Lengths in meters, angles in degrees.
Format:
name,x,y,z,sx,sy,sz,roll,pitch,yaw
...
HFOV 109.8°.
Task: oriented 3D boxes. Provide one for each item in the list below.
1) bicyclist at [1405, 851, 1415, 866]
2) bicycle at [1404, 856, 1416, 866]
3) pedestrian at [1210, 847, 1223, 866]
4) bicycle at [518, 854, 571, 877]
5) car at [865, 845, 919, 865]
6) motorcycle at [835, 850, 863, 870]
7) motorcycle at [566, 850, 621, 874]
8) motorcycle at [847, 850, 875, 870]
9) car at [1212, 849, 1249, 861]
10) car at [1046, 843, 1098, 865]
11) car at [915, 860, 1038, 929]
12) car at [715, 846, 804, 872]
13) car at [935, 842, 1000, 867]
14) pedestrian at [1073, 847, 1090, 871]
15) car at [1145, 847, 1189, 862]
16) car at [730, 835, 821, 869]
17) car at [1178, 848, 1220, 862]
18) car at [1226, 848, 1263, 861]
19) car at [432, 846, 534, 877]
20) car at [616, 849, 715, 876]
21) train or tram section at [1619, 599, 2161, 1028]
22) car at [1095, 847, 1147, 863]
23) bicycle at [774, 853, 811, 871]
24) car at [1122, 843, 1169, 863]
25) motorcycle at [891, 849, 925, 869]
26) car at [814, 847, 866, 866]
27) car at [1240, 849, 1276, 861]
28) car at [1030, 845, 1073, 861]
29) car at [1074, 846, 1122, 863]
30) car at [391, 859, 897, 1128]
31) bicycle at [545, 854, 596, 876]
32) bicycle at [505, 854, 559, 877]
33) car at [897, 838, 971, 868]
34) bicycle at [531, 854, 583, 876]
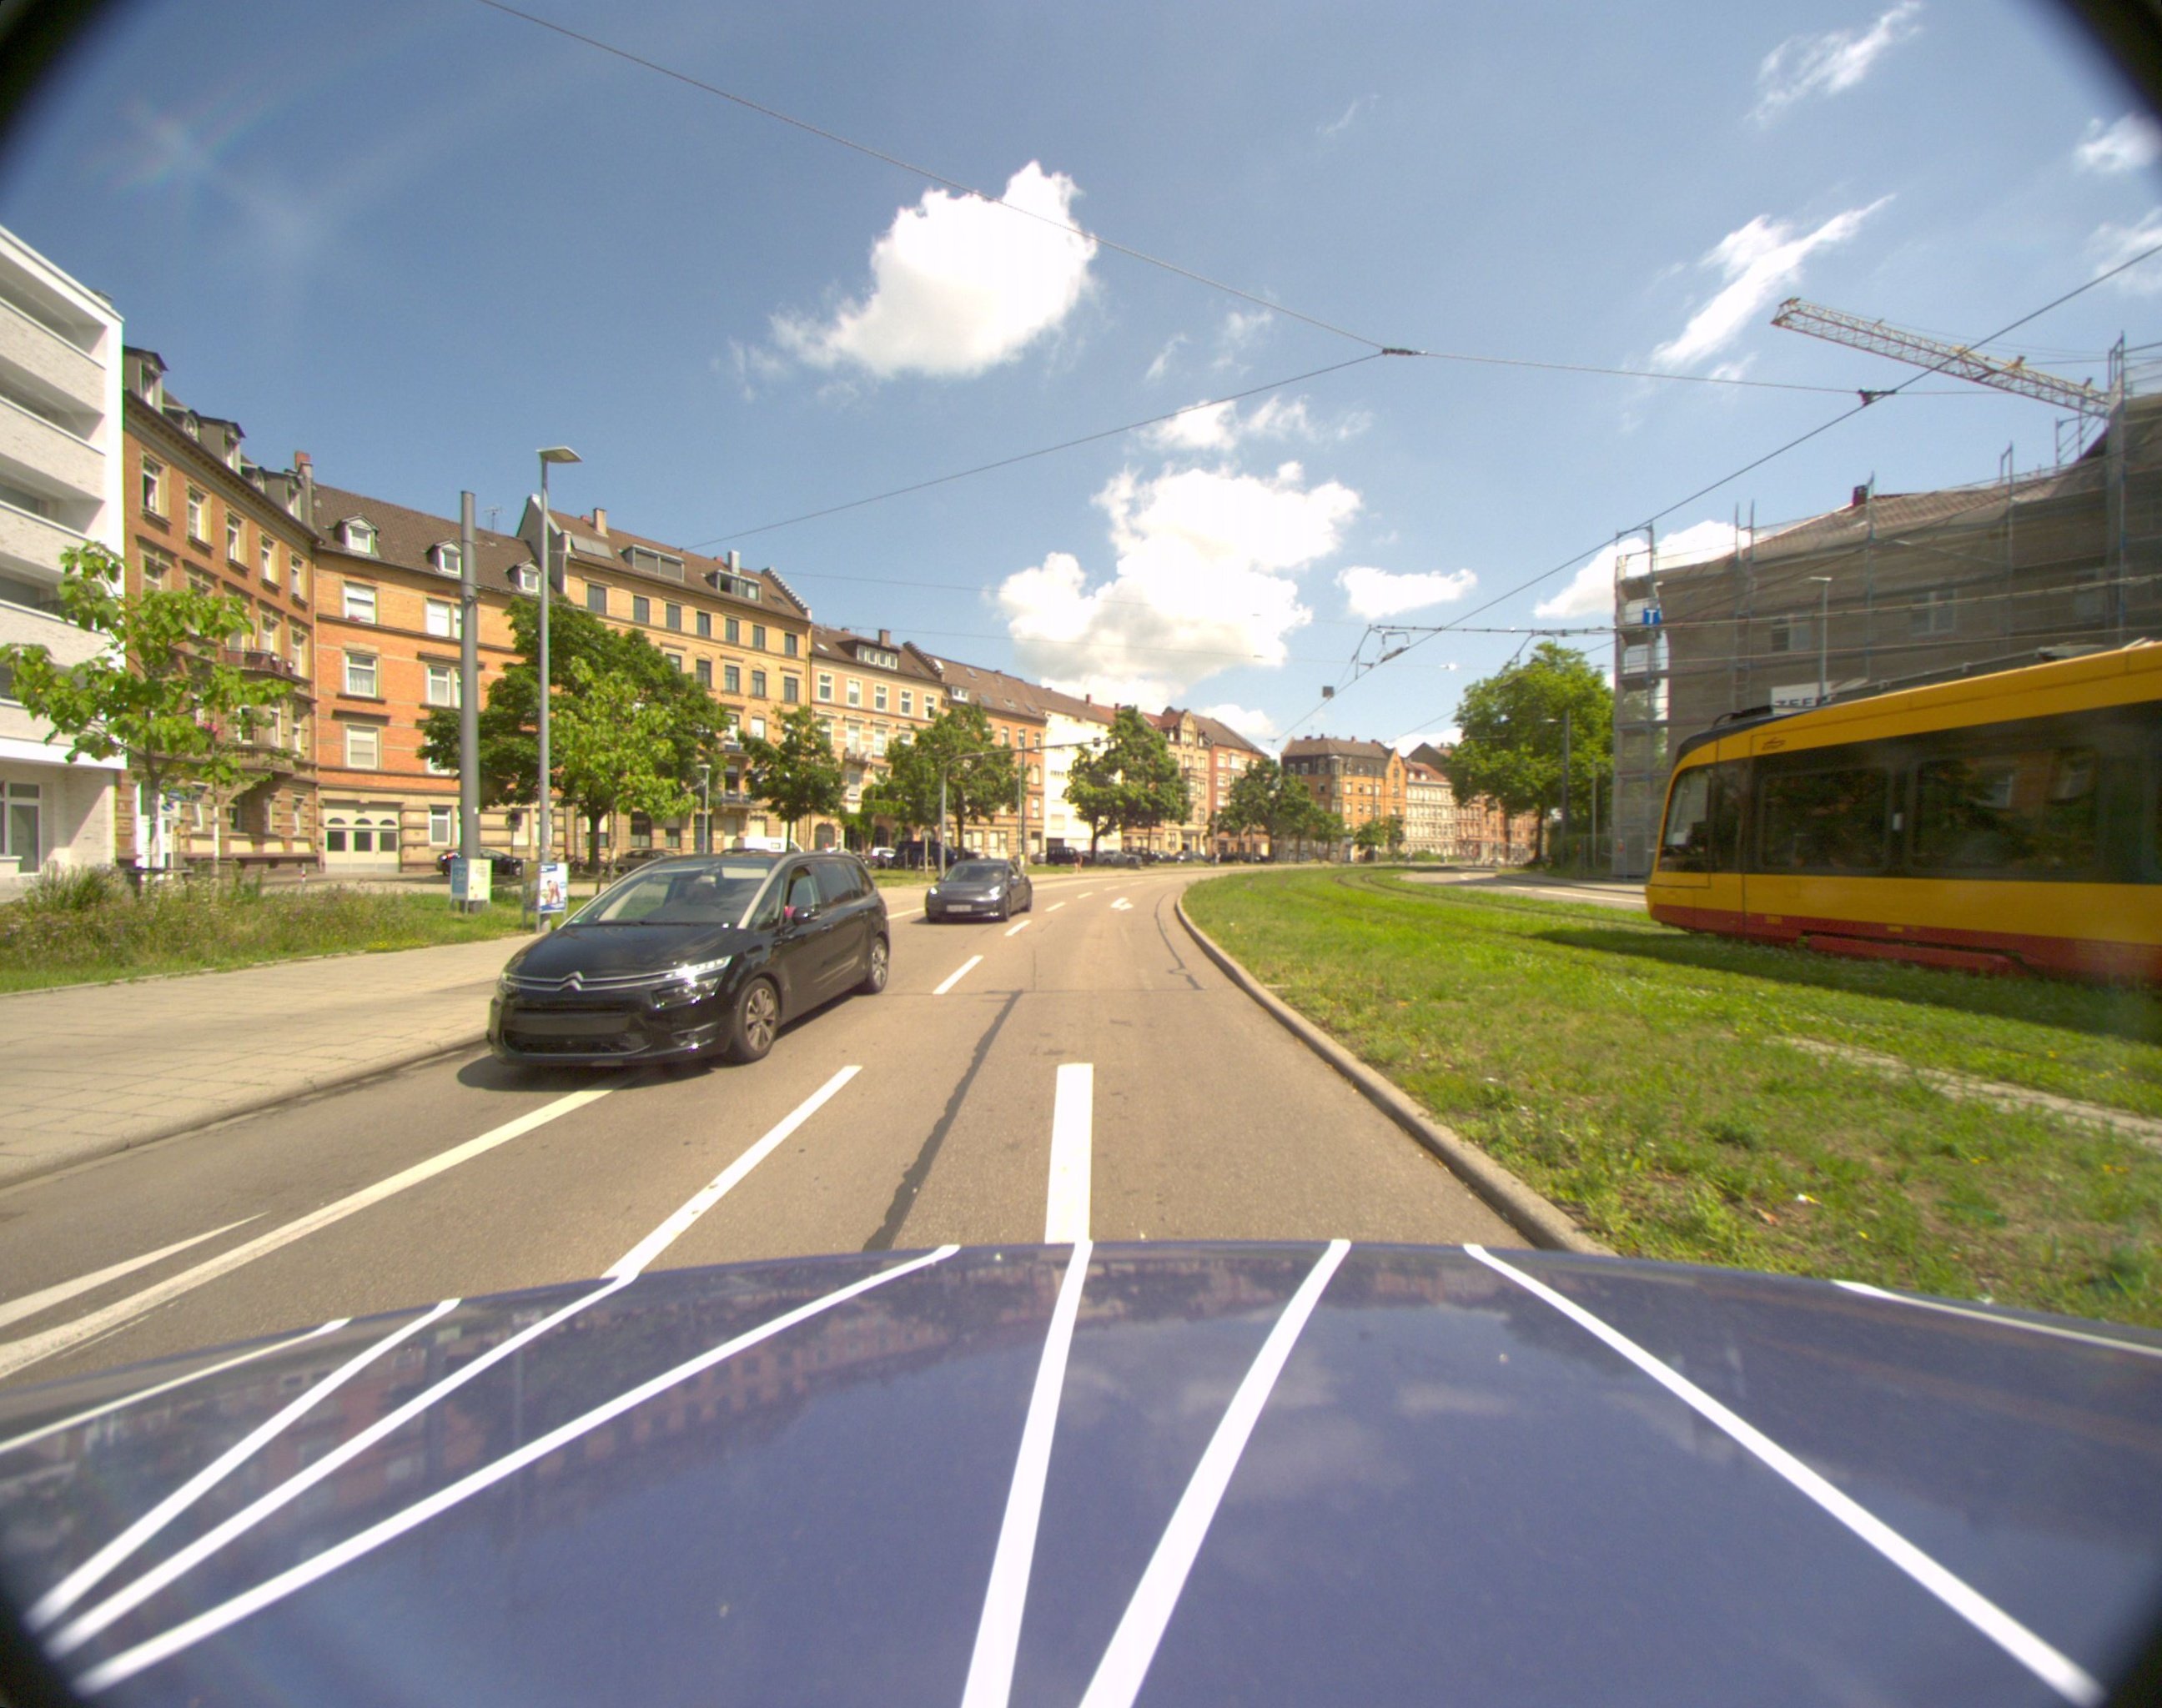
name,x,y,z,sx,sy,sz,roll,pitch,yaw
bicyclist,41.718,0.594,96.295,0.694,1.815,0.958,8,5,43
bicycle,41.700,0.858,96.311,0.693,1.236,1.843,8,5,43
pedestrian,12.518,0.230,70.311,0.700,1.695,1.046,0,4,38
bicycle,-24.219,0.513,34.275,2.387,0.963,0.544,-1,0,16
car,-14.832,0.062,59.883,1.659,1.483,3.861,-1,0,40
motorcycle,-13.410,0.339,43.835,1.783,1.160,0.641,0,1,38
motorcycle,-23.341,0.397,36.398,2.387,1.119,0.813,-1,0,16
motorcycle,-12.900,0.330,44.470,1.783,1.160,0.641,0,1,38
car,16.927,0.114,85.981,3.993,1.372,1.963,-1,0,12
car,-0.727,-0.006,64.799,4.144,1.731,1.853,-1,0,9
car,-2.378,0.899,18.507,1.913,1.386,4.315,-1,0,7
car,-17.955,0.282,42.462,4.252,1.419,1.807,0,1,10
car,-8.164,0.050,54.607,4.167,1.646,1.918,-1,0,13
pedestrian,0.025,0.324,51.972,0.700,1.583,0.907,1,1,39
car,8.493,0.073,75.446,4.265,1.372,1.853,-1,0,3
car,-20.852,-0.140,52.028,2.111,2.166,5.405,-1,0,40
car,12.487,0.101,80.452,4.265,1.372,1.853,-1,0,3
car,19.031,0.080,88.403,3.995,1.372,1.962,-1,0,7
car,-30.909,0.358,39.360,1.659,1.483,3.861,-1,0,40
car,-20.720,0.411,37.916,4.156,1.237,1.865,-1,0,15
train or tram section,10.675,-0.311,5.643,3.225,3.578,13.495,1,0,-3
car,3.686,0.116,69.421,4.688,1.372,1.853,-1,0,5
bicycle,-15.305,0.422,40.367,0.542,0.896,1.825,-1,0,36
car,6.136,-0.088,72.333,4.361,1.731,1.853,-1,0,3
motorcycle,-10.486,0.305,45.962,1.910,1.160,0.638,-1,1,-38
car,-17.768,0.154,56.137,1.564,1.395,3.357,1,1,42
car,21.236,0.073,91.055,3.992,1.346,1.964,-1,0,17
car,-2.912,-0.150,74.604,1.833,1.483,4.235,-1,0,40
car,1.533,0.060,66.985,4.081,1.397,1.853,-1,0,4
car,-3.285,0.896,6.883,1.875,1.610,4.190,-1,0,5
bicycle,-23.850,0.512,35.507,2.387,0.950,0.544,-1,0,16
bicycle,-24.365,0.516,33.732,2.387,0.963,0.544,-1,0,16
car,-10.075,-0.048,52.222,4.623,1.916,1.918,-1,0,9
bicycle,-24.050,0.509,34.838,2.387,0.963,0.544,-1,0,16
